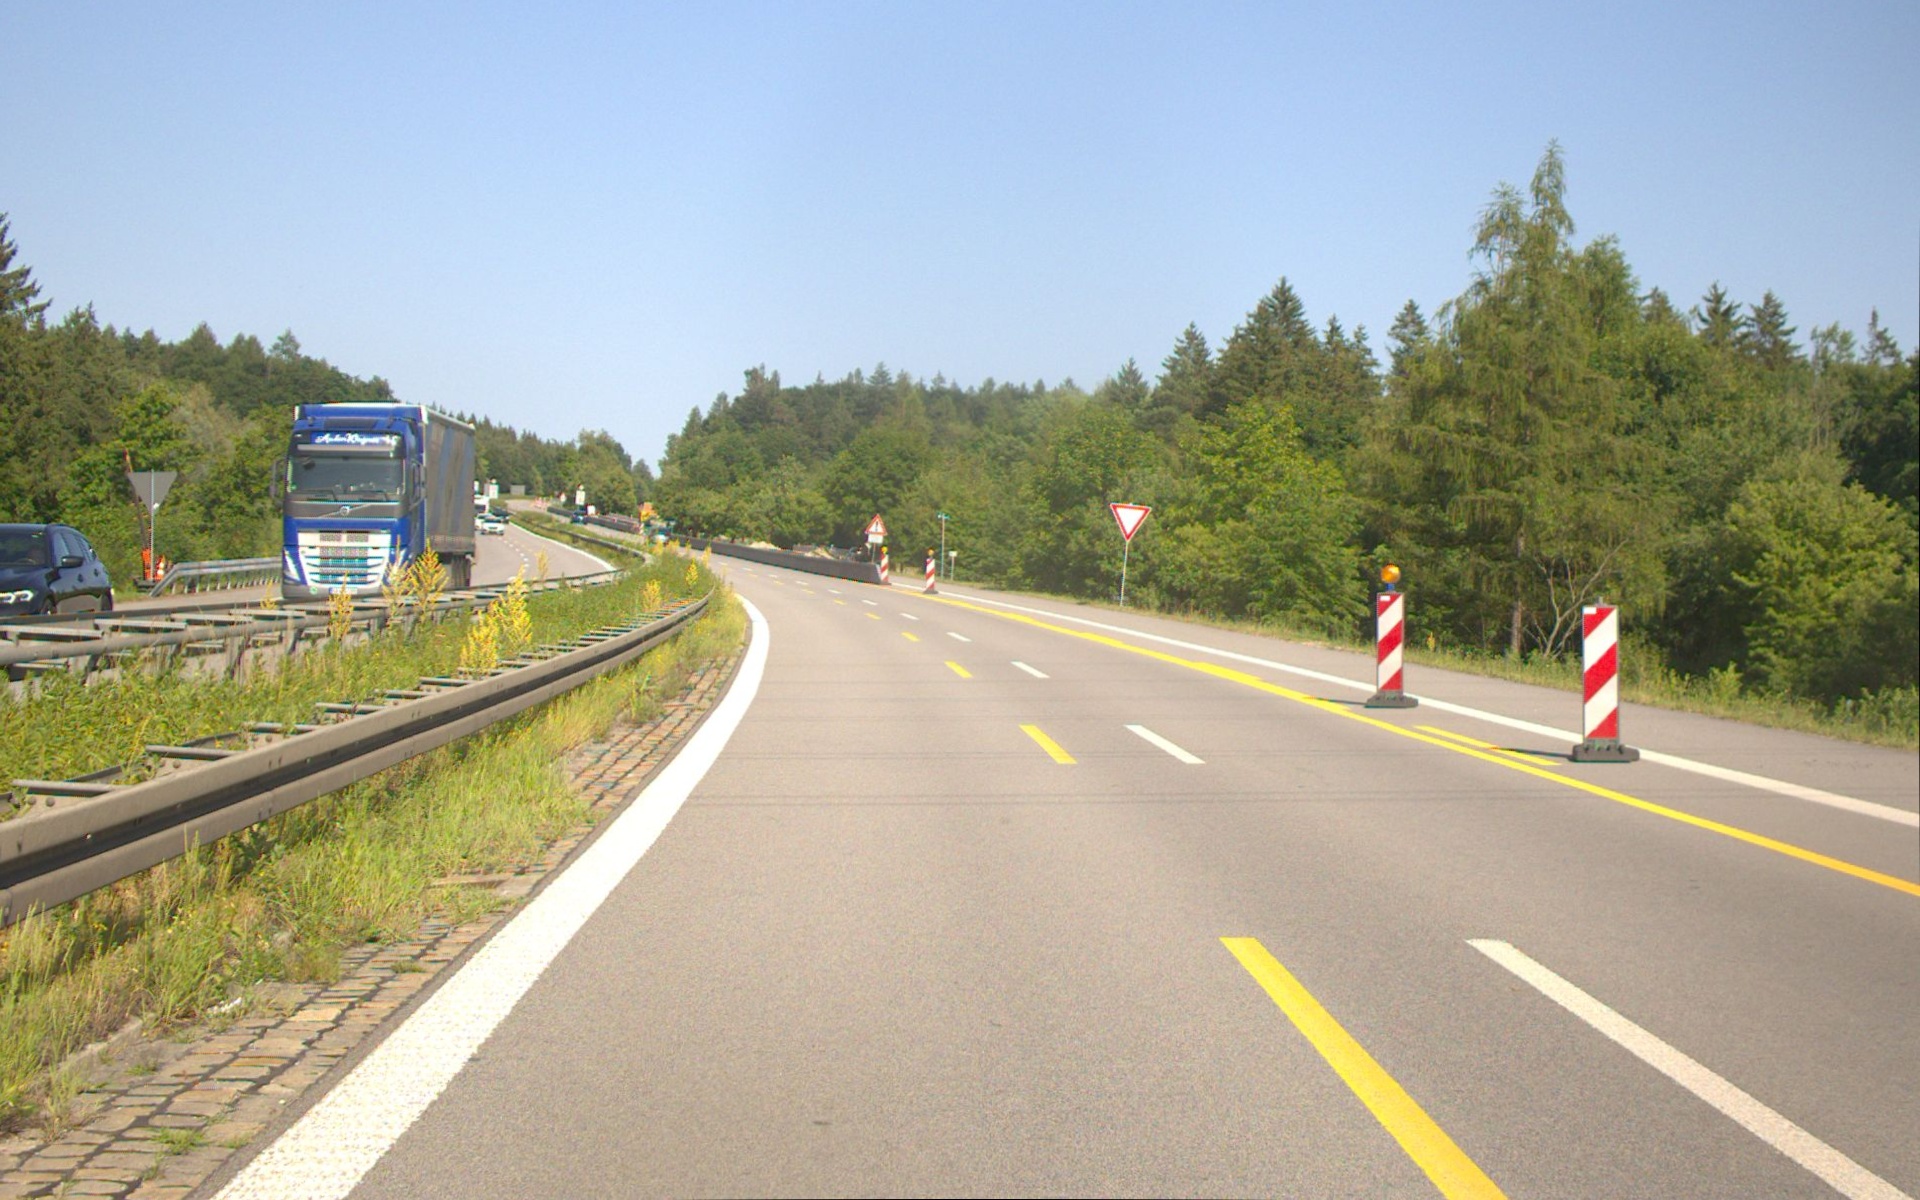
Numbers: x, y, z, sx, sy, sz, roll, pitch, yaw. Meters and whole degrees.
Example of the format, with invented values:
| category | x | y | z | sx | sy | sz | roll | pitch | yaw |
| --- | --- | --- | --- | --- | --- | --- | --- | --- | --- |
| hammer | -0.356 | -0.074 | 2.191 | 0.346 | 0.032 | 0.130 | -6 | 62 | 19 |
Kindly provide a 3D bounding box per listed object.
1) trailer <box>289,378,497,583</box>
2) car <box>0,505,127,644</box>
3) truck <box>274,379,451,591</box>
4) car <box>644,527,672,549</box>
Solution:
| category | x | y | z | sx | sy | sz | roll | pitch | yaw |
| --- | --- | --- | --- | --- | --- | --- | --- | --- | --- |
| trailer | -11.963 | -2.495 | 73.826 | 2.679 | 3.941 | 13.771 | 1 | 1 | -2 |
| car | -10.421 | -0.294 | 37.465 | 1.777 | 1.424 | 4.269 | 0 | 1 | -2 |
| truck | -11.698 | -2.210 | 67.733 | 2.632 | 3.946 | 5.843 | 1 | 1 | -2 |
| car | -22.428 | -4.607 | 255.184 | 1.743 | 1.461 | 4.295 | 3 | 1 | -9 |
